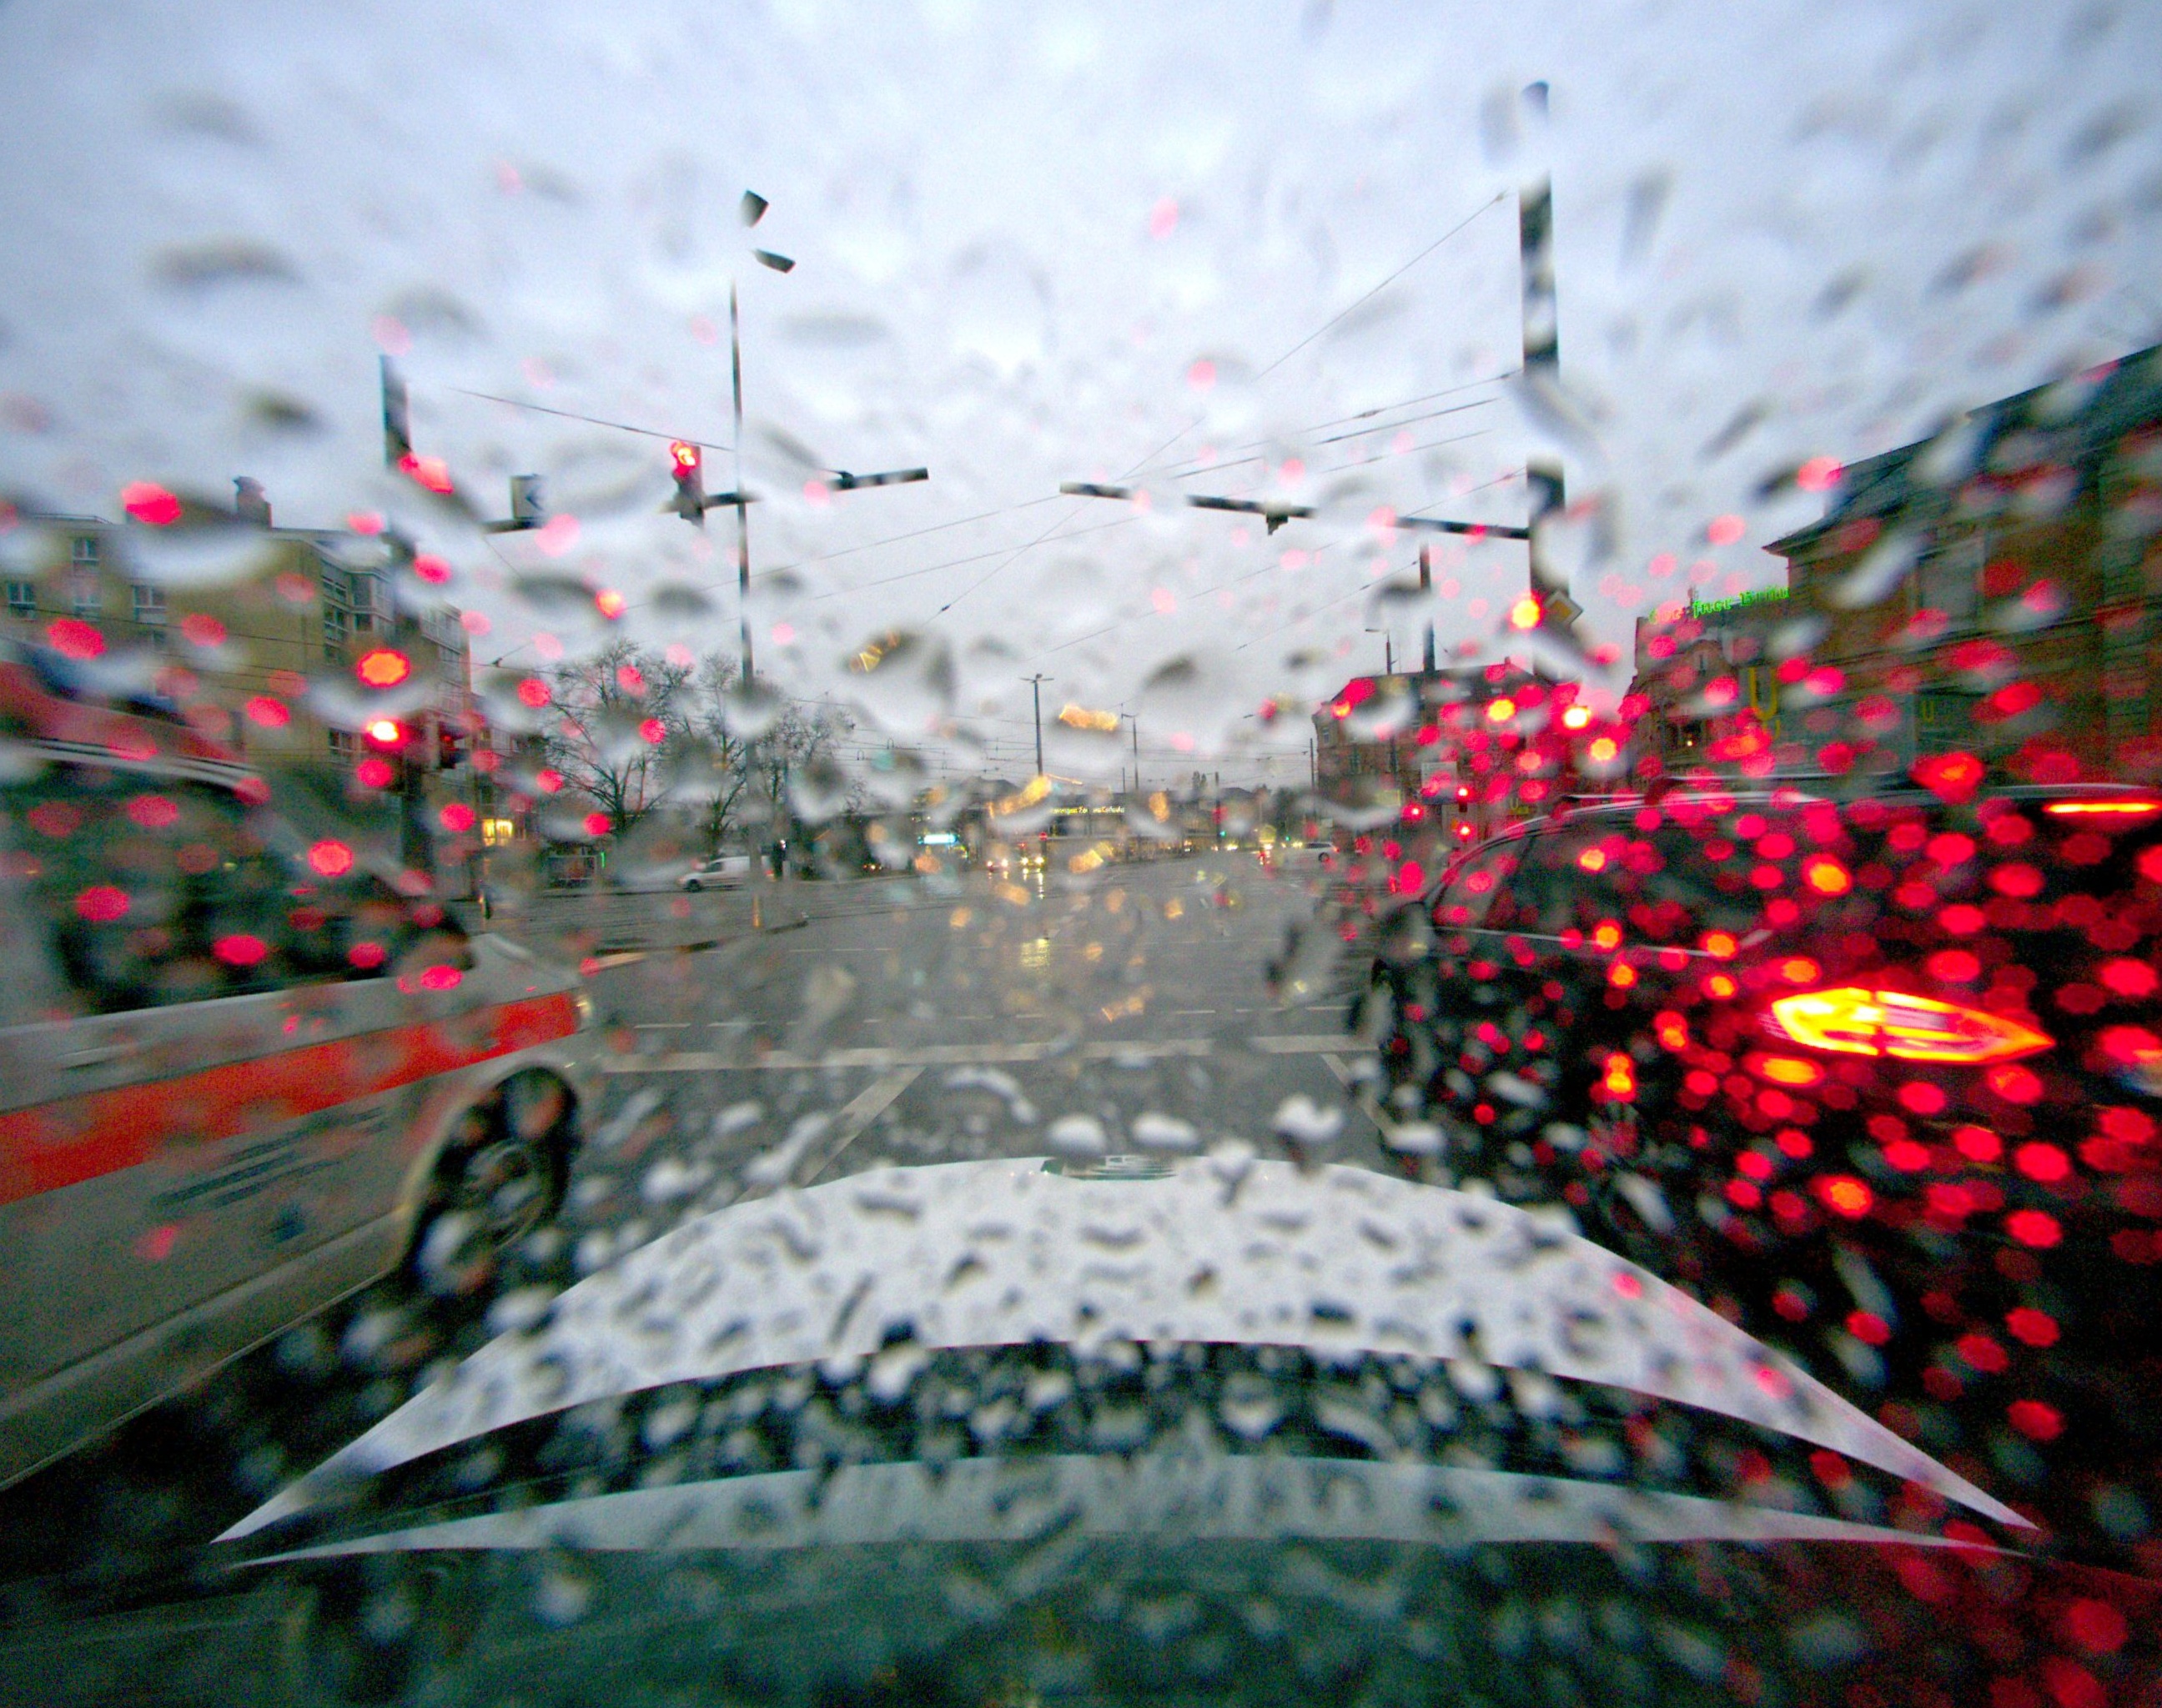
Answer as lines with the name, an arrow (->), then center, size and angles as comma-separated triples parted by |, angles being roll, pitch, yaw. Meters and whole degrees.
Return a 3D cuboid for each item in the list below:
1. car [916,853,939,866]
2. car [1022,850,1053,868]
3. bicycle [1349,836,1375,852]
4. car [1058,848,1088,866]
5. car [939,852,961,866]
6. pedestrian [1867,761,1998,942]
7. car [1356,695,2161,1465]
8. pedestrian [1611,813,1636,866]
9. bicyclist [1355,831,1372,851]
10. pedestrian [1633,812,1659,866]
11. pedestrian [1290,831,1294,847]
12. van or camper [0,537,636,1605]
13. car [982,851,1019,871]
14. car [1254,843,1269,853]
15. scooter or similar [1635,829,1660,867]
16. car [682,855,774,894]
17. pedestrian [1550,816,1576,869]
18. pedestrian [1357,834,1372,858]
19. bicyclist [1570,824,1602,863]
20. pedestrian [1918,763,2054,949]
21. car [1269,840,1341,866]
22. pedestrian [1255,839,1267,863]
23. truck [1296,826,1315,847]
car -> -19.472, 0.708, 103.718 | 1.854, 1.601, 4.004 | -3, 0, 4
car -> -3.825, 0.426, 72.217 | 1.801, 1.446, 4.013 | -3, 0, 11
bicycle -> 27.146, -0.956, 78.715 | 0.702, 1.376, 2.181 | -2, 0, -43
car -> -0.715, 0.253, 72.978 | 1.801, 1.446, 4.013 | -3, 0, 11
car -> -16.588, 0.619, 103.408 | 1.854, 1.601, 4.004 | -3, 0, 4
pedestrian -> 9.572, -0.037, 9.198 | 0.800, 1.929, 0.765 | -1, 3, 26
car -> 2.892, 0.498, 4.098 | 1.770, 1.800, 4.430 | -1, 1, 4
pedestrian -> 20.262, -0.548, 30.432 | 0.669, 1.950, 0.666 | -3, 0, 31
bicyclist -> 27.250, -1.255, 78.637 | 1.056, 1.768, 1.059 | -2, 0, -41
pedestrian -> 20.839, -0.548, 30.060 | 0.669, 1.950, 0.666 | -3, 0, 32
pedestrian -> 27.012, -1.938, 104.349 | 0.341, 2.013, 0.420 | -3, 0, 17
van or camper -> -3.261, 0.440, 1.221 | 2.192, 2.109, 4.992 | -1, 0, 3
car -> -6.407, 0.546, 65.610 | 1.801, 1.446, 4.013 | -3, 0, 11
car -> 30.727, -0.984, 138.376 | 1.847, 1.601, 3.806 | -3, 0, 20
scooter or similar -> 20.446, -0.216, 29.412 | 0.669, 1.317, 0.832 | -3, 0, 32
car -> -19.107, 1.124, 44.289 | 4.414, 2.014, 1.899 | 0, -3, -18
pedestrian -> 17.958, -0.430, 30.359 | 0.669, 1.950, 0.681 | -3, 0, 38
pedestrian -> 24.024, -0.663, 69.039 | 0.732, 2.013, 0.782 | -2, 0, -27
bicyclist -> 20.573, -0.419, 33.184 | 0.778, 1.575, 0.691 | -2, 0, -19
pedestrian -> 10.326, 0.006, 9.335 | 0.800, 2.013, 0.765 | -1, 3, 26
car -> 15.830, -0.055, 57.497 | 4.760, 1.657, 1.748 | -2, 0, 18
pedestrian -> 14.641, -0.246, 66.165 | 0.595, 1.840, 0.612 | -3, 0, -33
truck -> 29.888, -2.295, 108.157 | 1.977, 2.691, 5.141 | -3, 0, 19
